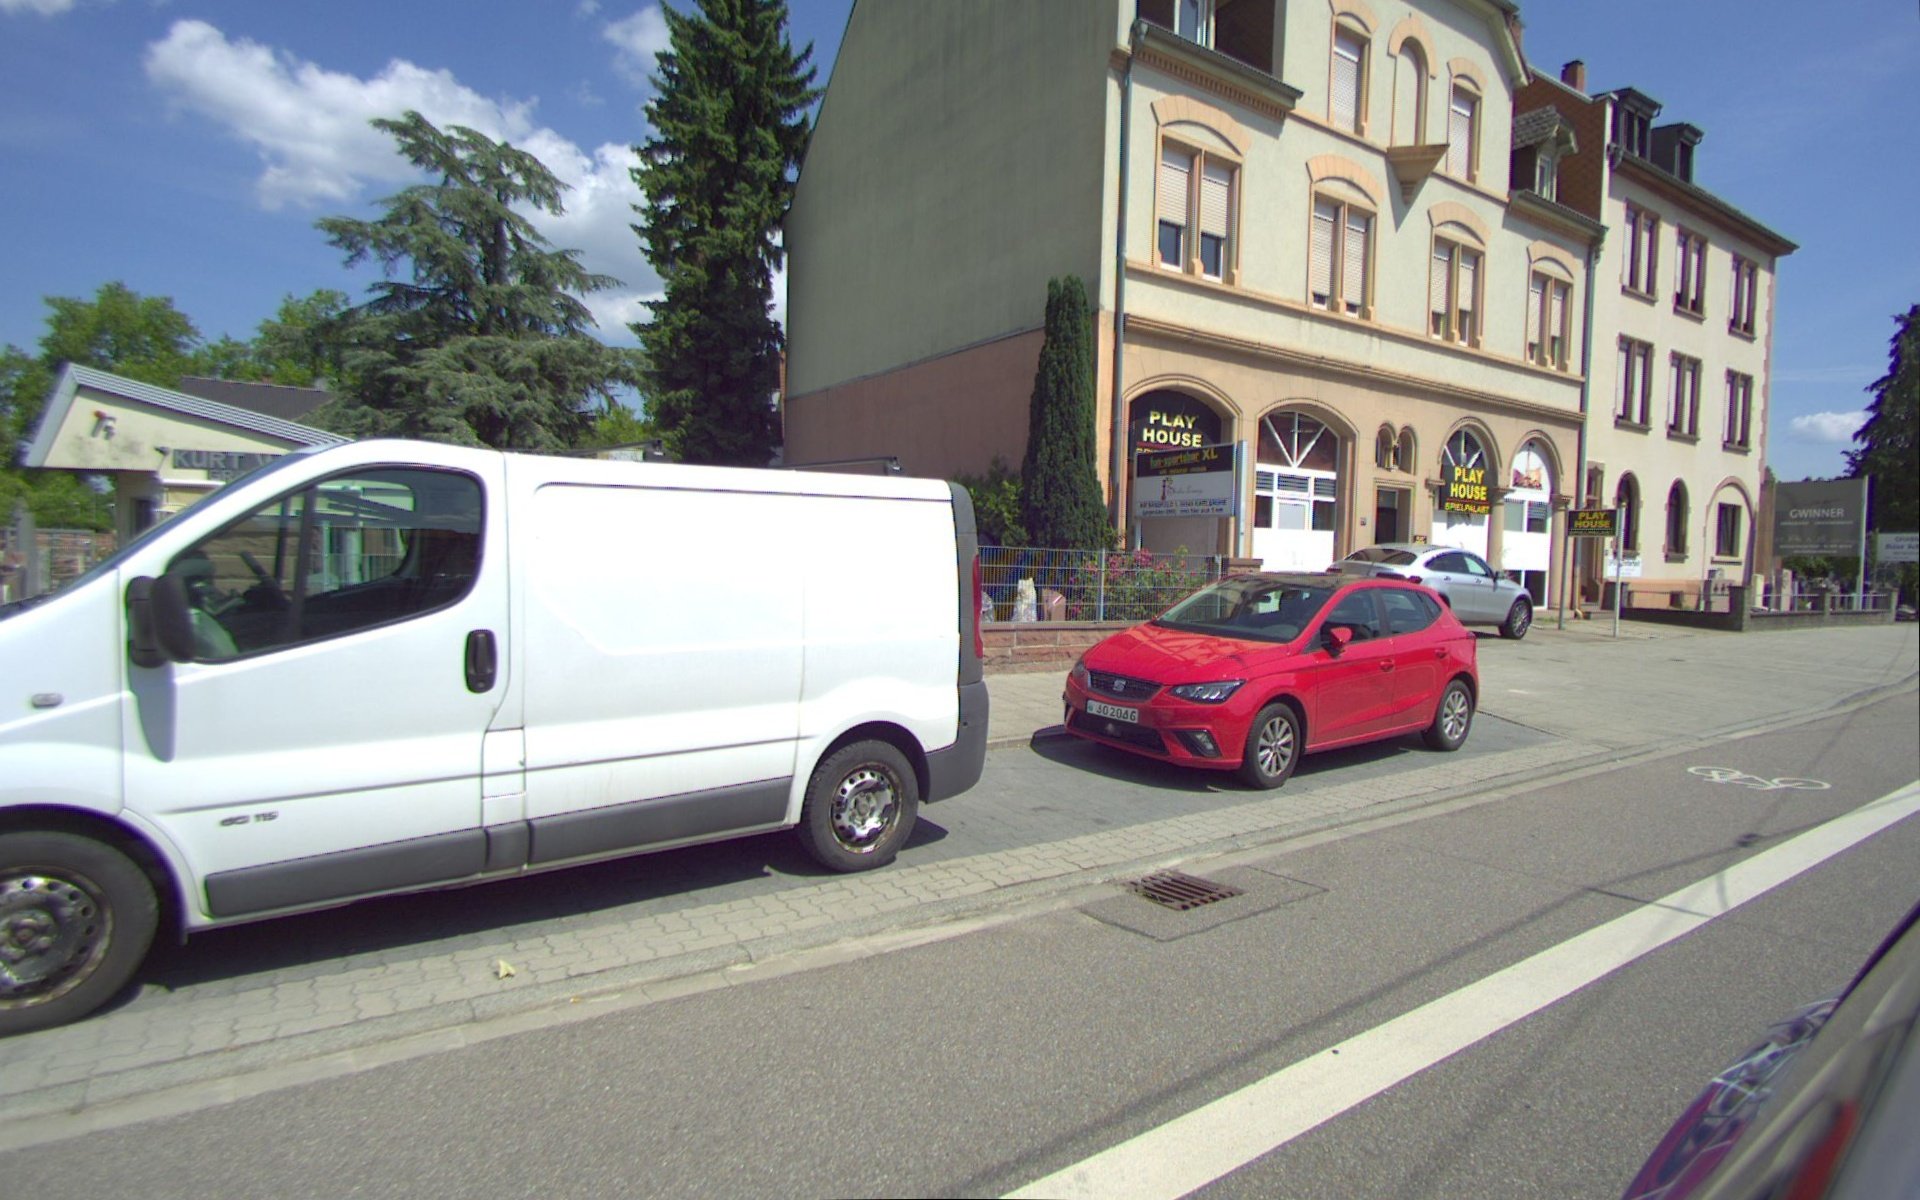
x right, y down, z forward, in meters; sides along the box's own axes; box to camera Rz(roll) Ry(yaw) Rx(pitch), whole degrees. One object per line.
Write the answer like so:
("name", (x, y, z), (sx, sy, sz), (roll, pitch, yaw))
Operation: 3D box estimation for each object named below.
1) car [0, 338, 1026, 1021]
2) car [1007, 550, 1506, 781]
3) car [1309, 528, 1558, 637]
("car", (-2.433, 0.160, 4.521), (5.413, 2.015, 2.000), (0, 5, -38))
("car", (2.544, 0.370, 8.381), (3.942, 1.460, 2.000), (0, 2, -37))
("car", (8.450, -0.347, 17.939), (4.551, 1.643, 1.886), (0, 6, -35))
